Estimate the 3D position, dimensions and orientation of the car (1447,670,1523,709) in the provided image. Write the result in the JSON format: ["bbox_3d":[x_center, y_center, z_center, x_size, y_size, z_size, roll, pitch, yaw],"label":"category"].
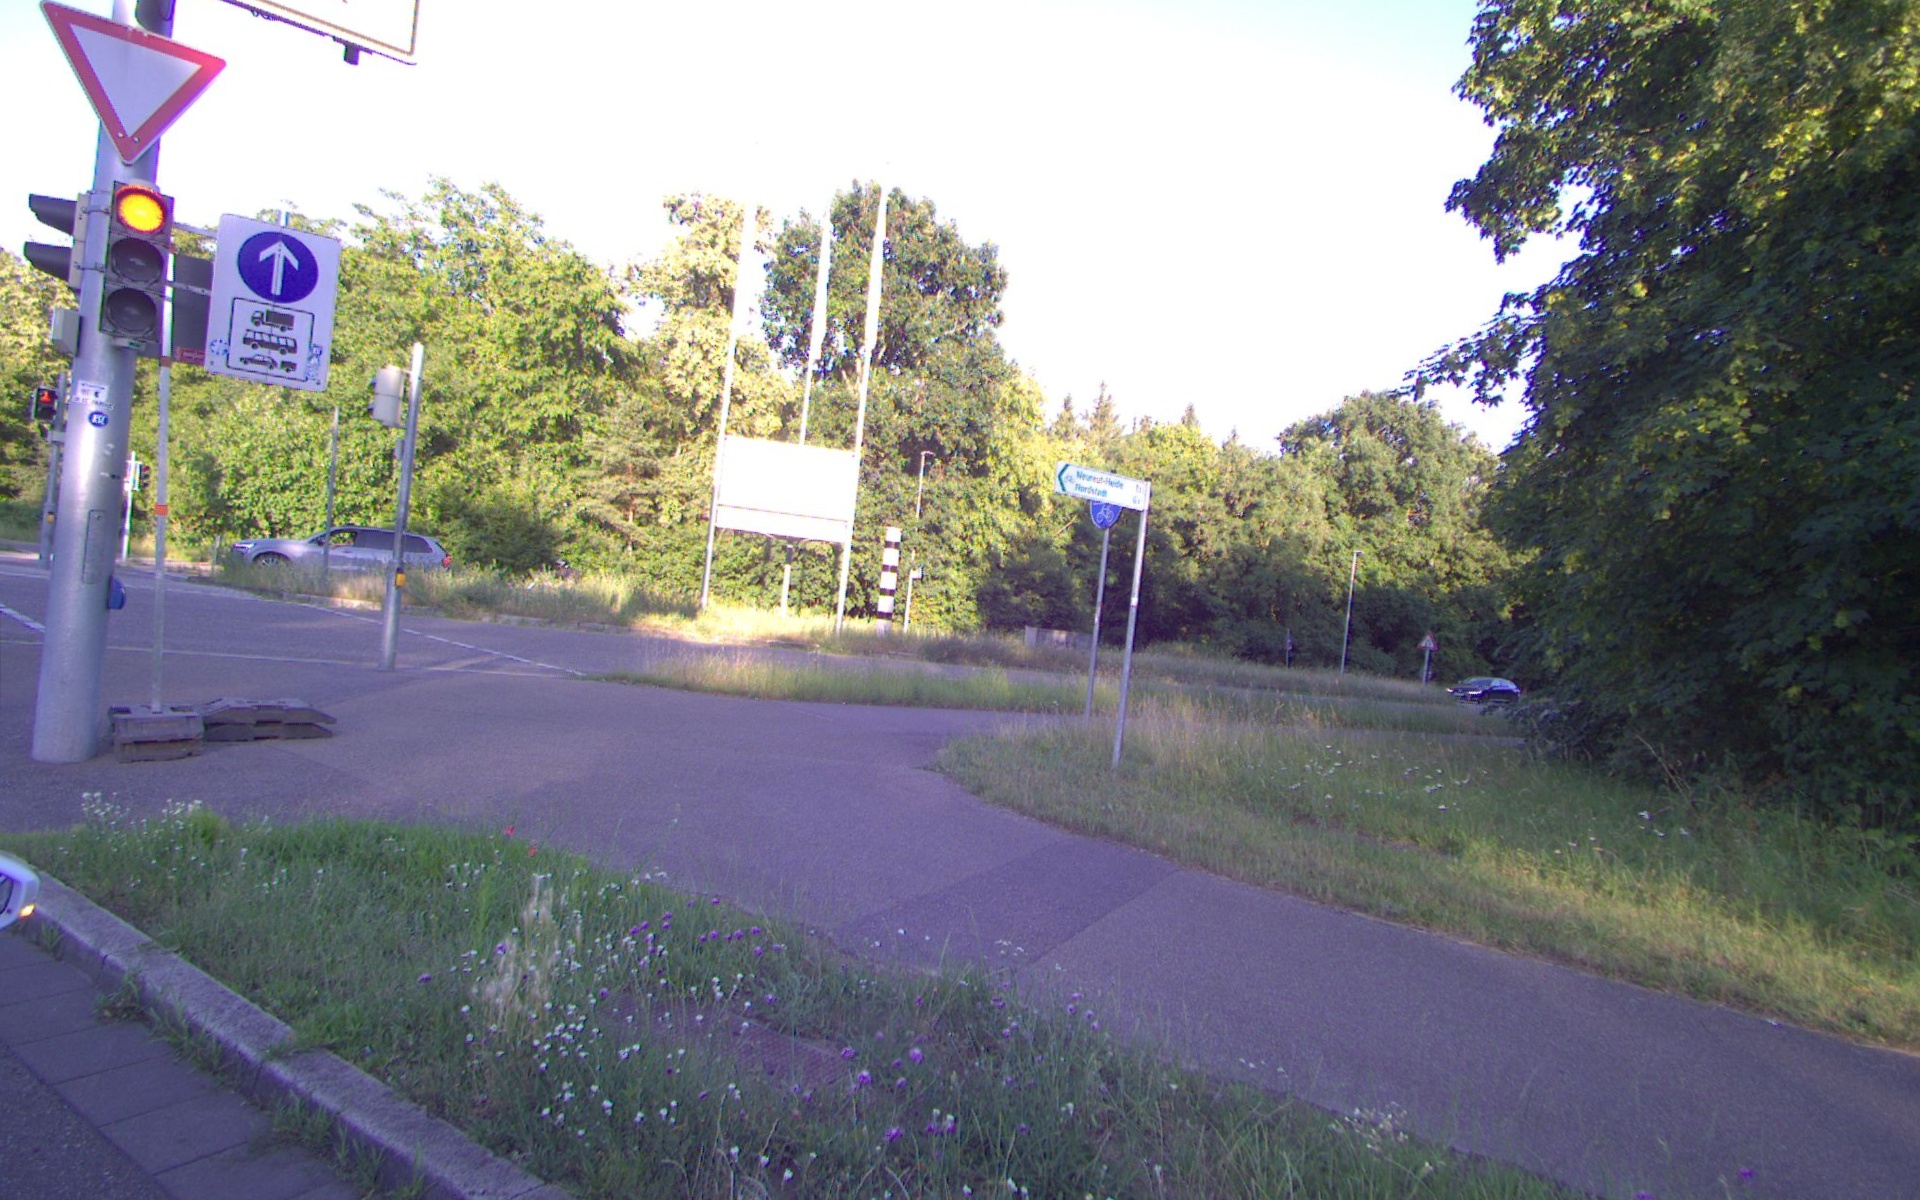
[{"bbox_3d":[26.477,4.519,50.695,3.840,1.507,1.754,8,-1,-36],"label":"car"}]

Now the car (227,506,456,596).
[{"bbox_3d":[-15.920,-1.223,25.999,4.790,1.618,1.980,7,0,-37],"label":"car"}]

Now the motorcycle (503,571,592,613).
[{"bbox_3d":[-11.472,-0.209,28.042,2.133,0.921,0.655,7,0,-37],"label":"motorcycle"}]

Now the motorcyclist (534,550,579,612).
[{"bbox_3d":[-11.285,-0.532,28.147,0.881,1.614,0.648,6,0,-37],"label":"motorcyclist"}]
